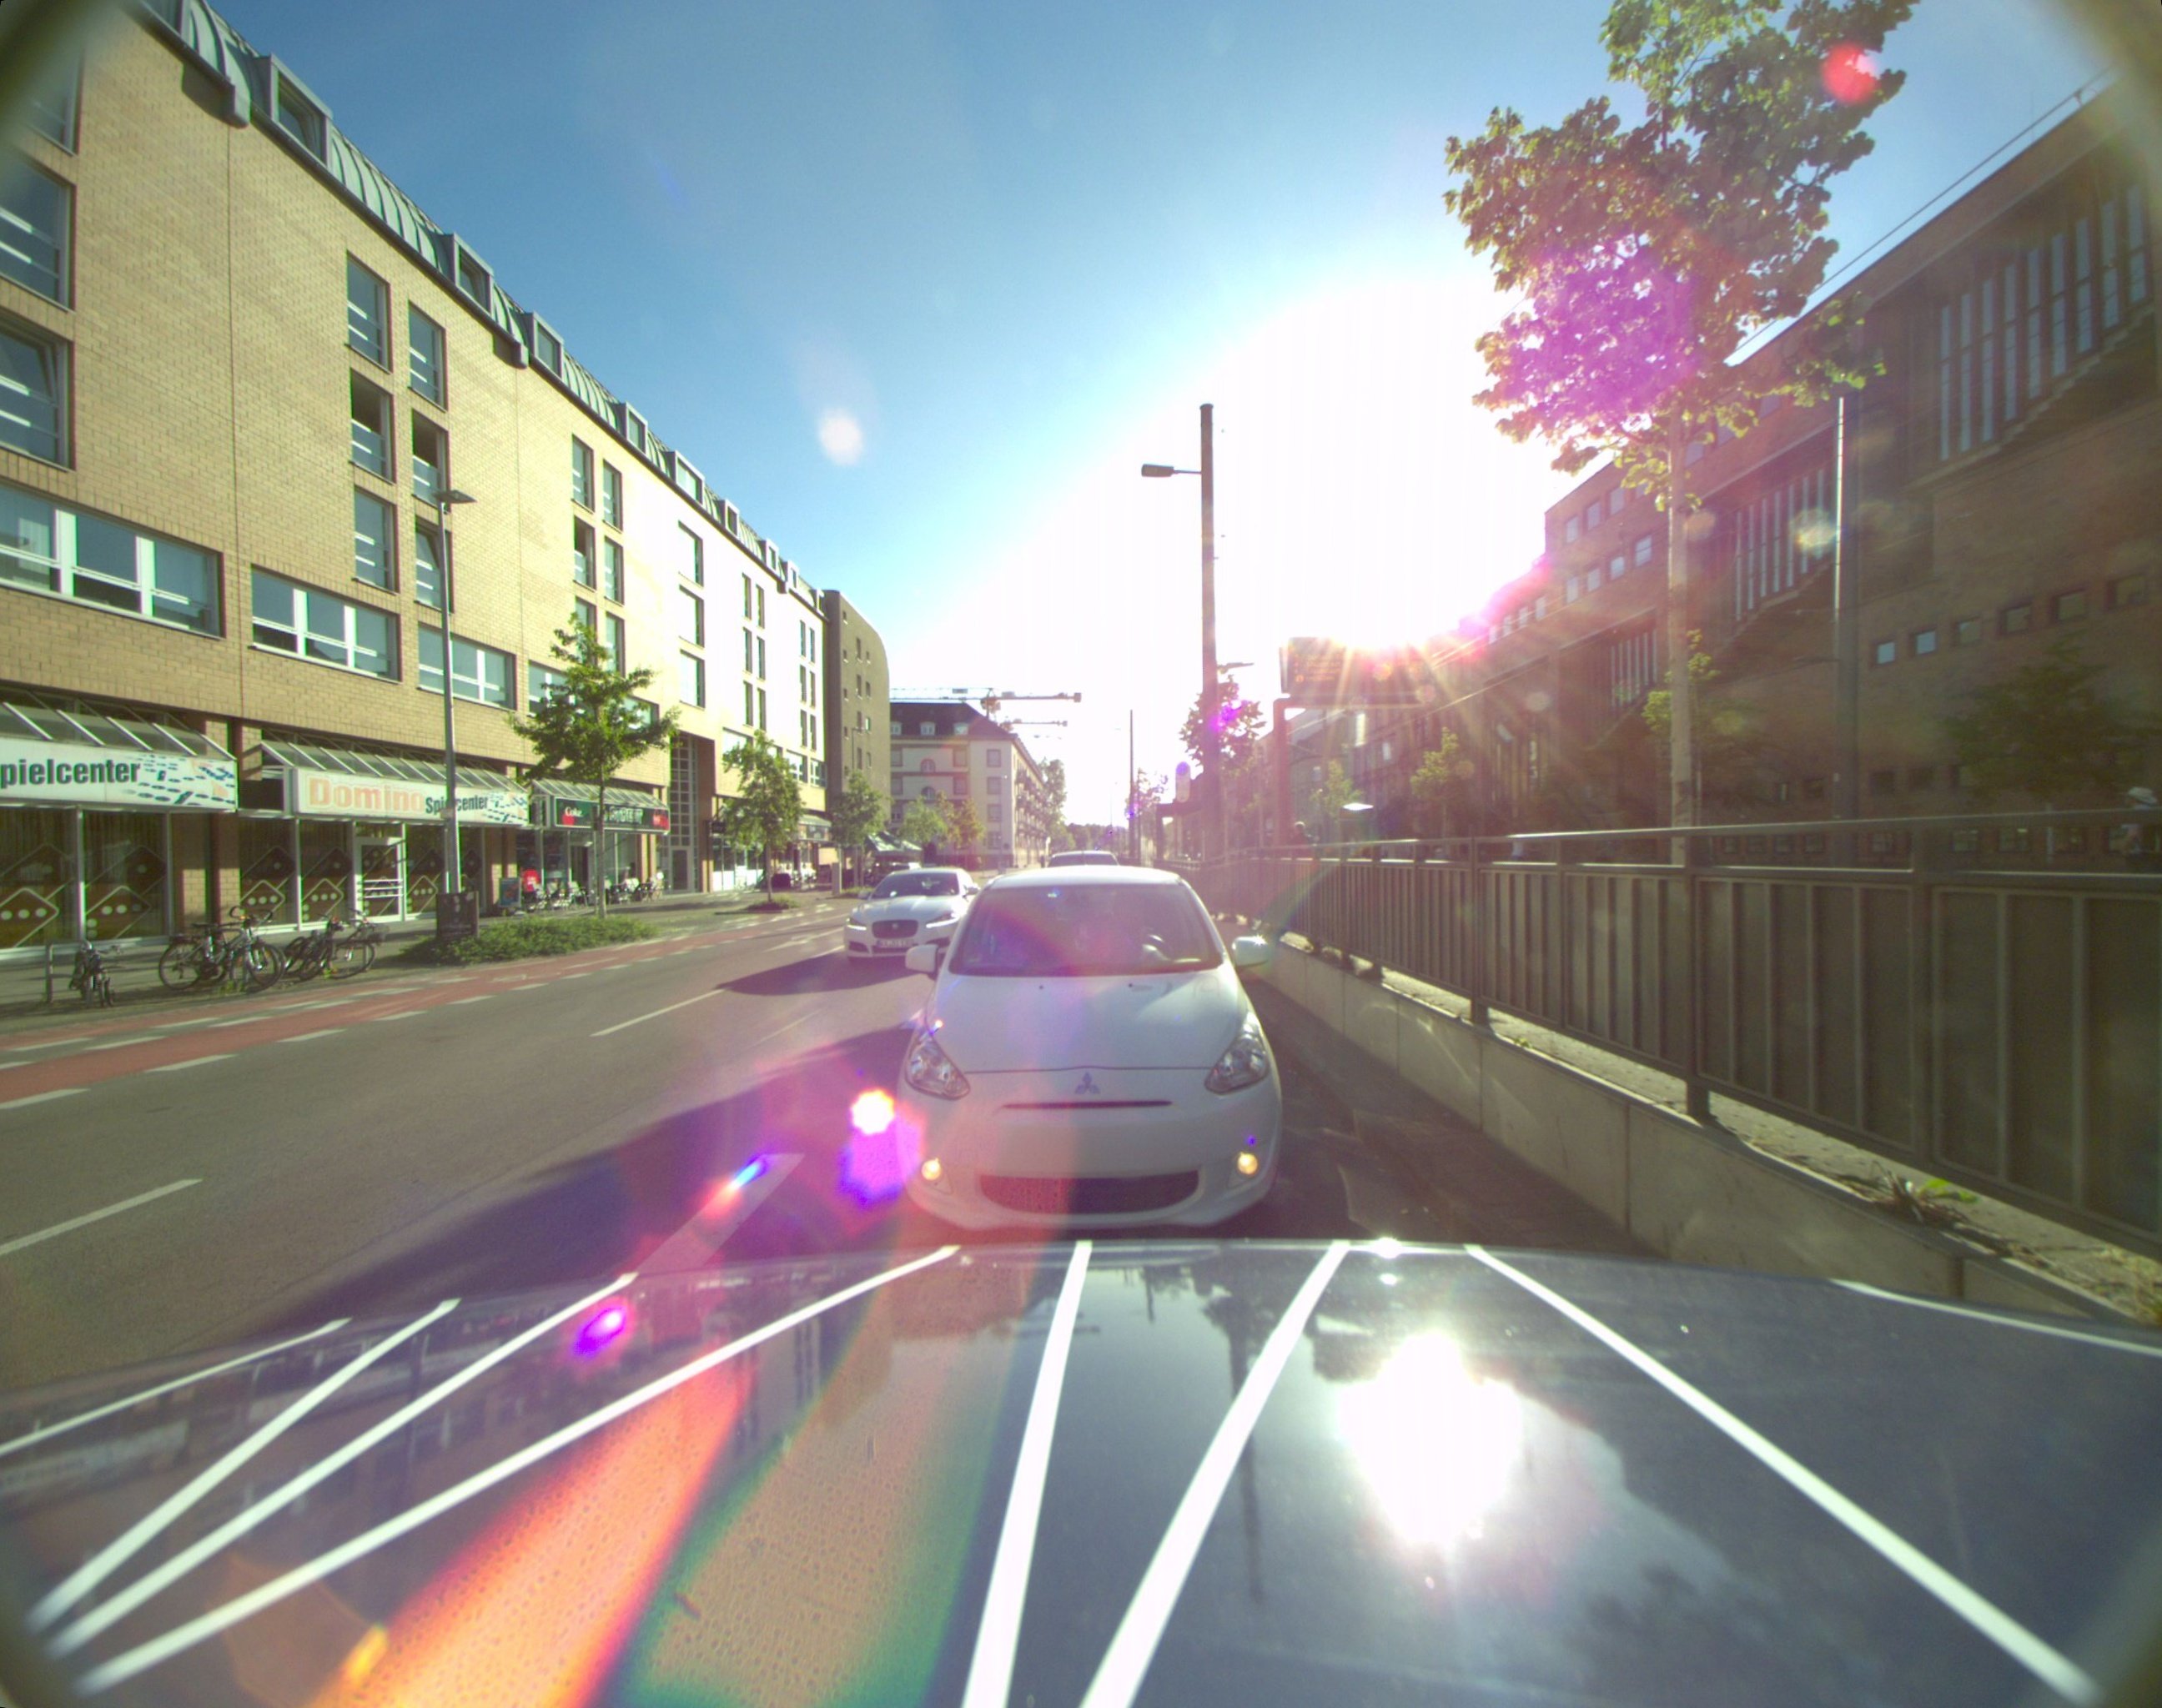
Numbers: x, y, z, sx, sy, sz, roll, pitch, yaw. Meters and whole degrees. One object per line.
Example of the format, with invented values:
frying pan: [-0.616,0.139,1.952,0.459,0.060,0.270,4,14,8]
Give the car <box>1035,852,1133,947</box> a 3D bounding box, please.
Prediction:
car: [0.054,0.832,15.968,1.720,1.591,4.215,-2,1,0]

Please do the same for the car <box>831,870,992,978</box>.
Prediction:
car: [-2.705,1.053,13.196,1.808,1.421,4.452,-1,0,0]

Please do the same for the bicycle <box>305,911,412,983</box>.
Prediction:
bicycle: [-11.885,1.515,12.501,1.835,1.050,0.350,1,2,15]

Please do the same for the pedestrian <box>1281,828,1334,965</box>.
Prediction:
pedestrian: [4.118,0.756,13.842,0.684,2.428,0.626,-2,2,-2]

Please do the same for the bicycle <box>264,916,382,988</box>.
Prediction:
bicycle: [-12.015,1.535,12.040,1.835,0.980,0.449,1,2,15]

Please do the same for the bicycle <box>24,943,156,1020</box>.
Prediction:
bicycle: [-12.774,1.626,9.795,1.772,0.827,0.366,1,2,15]

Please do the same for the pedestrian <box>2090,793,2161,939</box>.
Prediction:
pedestrian: [13.625,0.132,9.672,0.685,1.797,0.668,-2,2,0]

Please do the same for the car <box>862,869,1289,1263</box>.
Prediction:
car: [-0.023,0.928,5.275,1.720,1.422,4.215,-2,1,0]

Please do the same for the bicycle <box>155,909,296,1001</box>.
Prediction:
bicycle: [-12.337,1.428,10.960,1.835,1.156,0.565,1,2,15]

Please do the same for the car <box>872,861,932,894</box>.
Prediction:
car: [-9.706,1.217,41.420,1.778,1.630,4.002,1,0,9]
